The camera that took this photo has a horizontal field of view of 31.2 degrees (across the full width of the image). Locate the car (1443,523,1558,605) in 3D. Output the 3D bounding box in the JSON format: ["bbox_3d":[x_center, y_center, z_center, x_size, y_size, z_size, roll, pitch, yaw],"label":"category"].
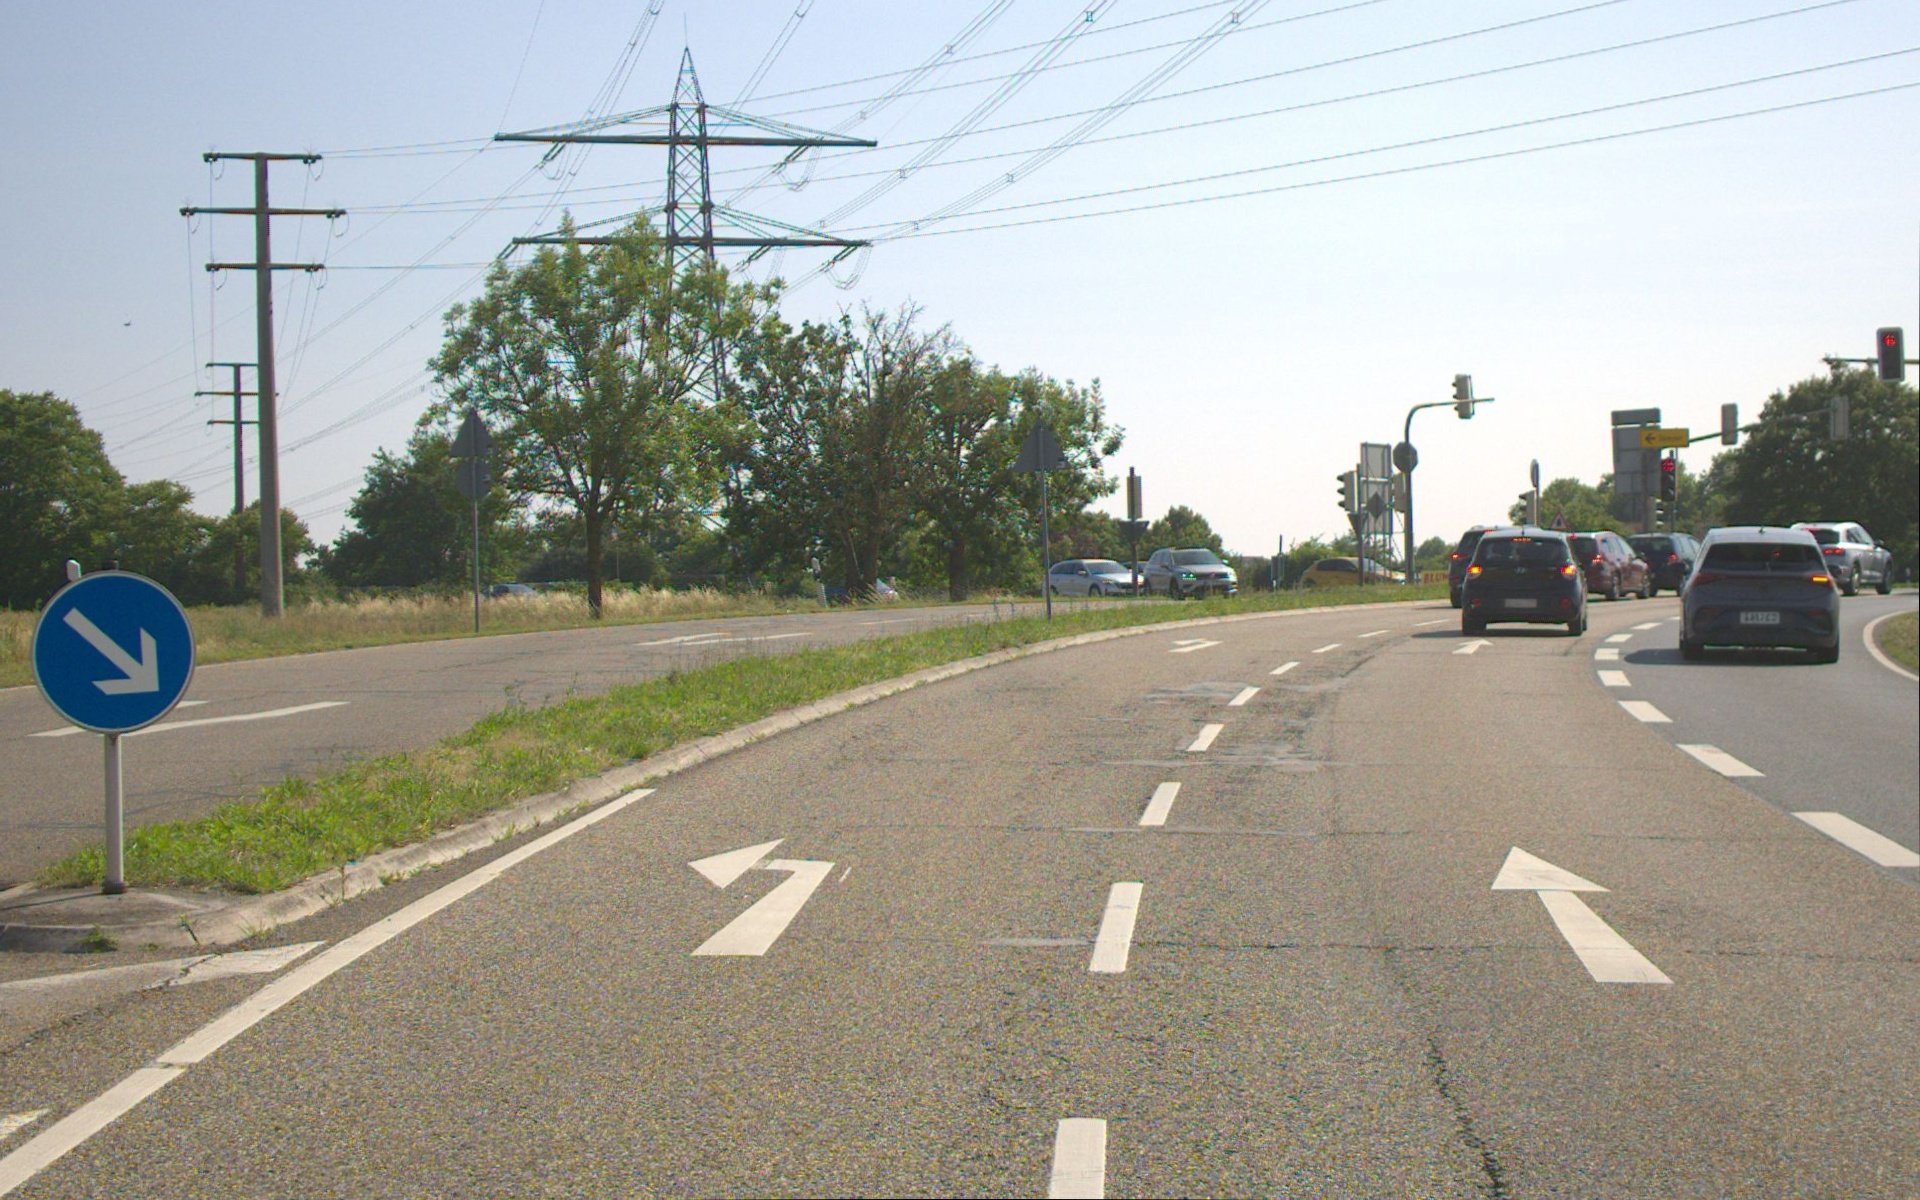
[{"bbox_3d":[10.737,-0.734,68.134,1.743,1.563,3.621,1,1,17],"label":"car"}]

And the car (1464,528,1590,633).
[{"bbox_3d":[8.115,-0.296,49.052,1.634,1.443,3.293,0,1,12],"label":"car"}]

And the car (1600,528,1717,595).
[{"bbox_3d":[16.148,-0.889,79.418,1.744,1.479,3.619,1,1,27],"label":"car"}]

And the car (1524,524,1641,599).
[{"bbox_3d":[13.412,-0.826,73.925,1.744,1.563,3.620,1,1,22],"label":"car"}]

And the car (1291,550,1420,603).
[{"bbox_3d":[12.811,-0.754,111.513,1.815,1.645,3.998,-1,0,-40],"label":"car"}]

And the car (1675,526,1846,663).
[{"bbox_3d":[9.390,-0.108,40.573,1.773,1.512,4.098,0,1,11],"label":"car"}]

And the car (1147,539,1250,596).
[{"bbox_3d":[7.057,-0.952,101.968,1.814,1.645,4.001,-1,0,-15],"label":"car"}]

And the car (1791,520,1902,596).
[{"bbox_3d":[20.146,-0.958,78.045,1.635,1.671,3.744,1,1,27],"label":"car"}]

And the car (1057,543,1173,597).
[{"bbox_3d":[4.880,-0.924,108.742,1.814,1.645,4.000,-1,0,-29],"label":"car"}]
